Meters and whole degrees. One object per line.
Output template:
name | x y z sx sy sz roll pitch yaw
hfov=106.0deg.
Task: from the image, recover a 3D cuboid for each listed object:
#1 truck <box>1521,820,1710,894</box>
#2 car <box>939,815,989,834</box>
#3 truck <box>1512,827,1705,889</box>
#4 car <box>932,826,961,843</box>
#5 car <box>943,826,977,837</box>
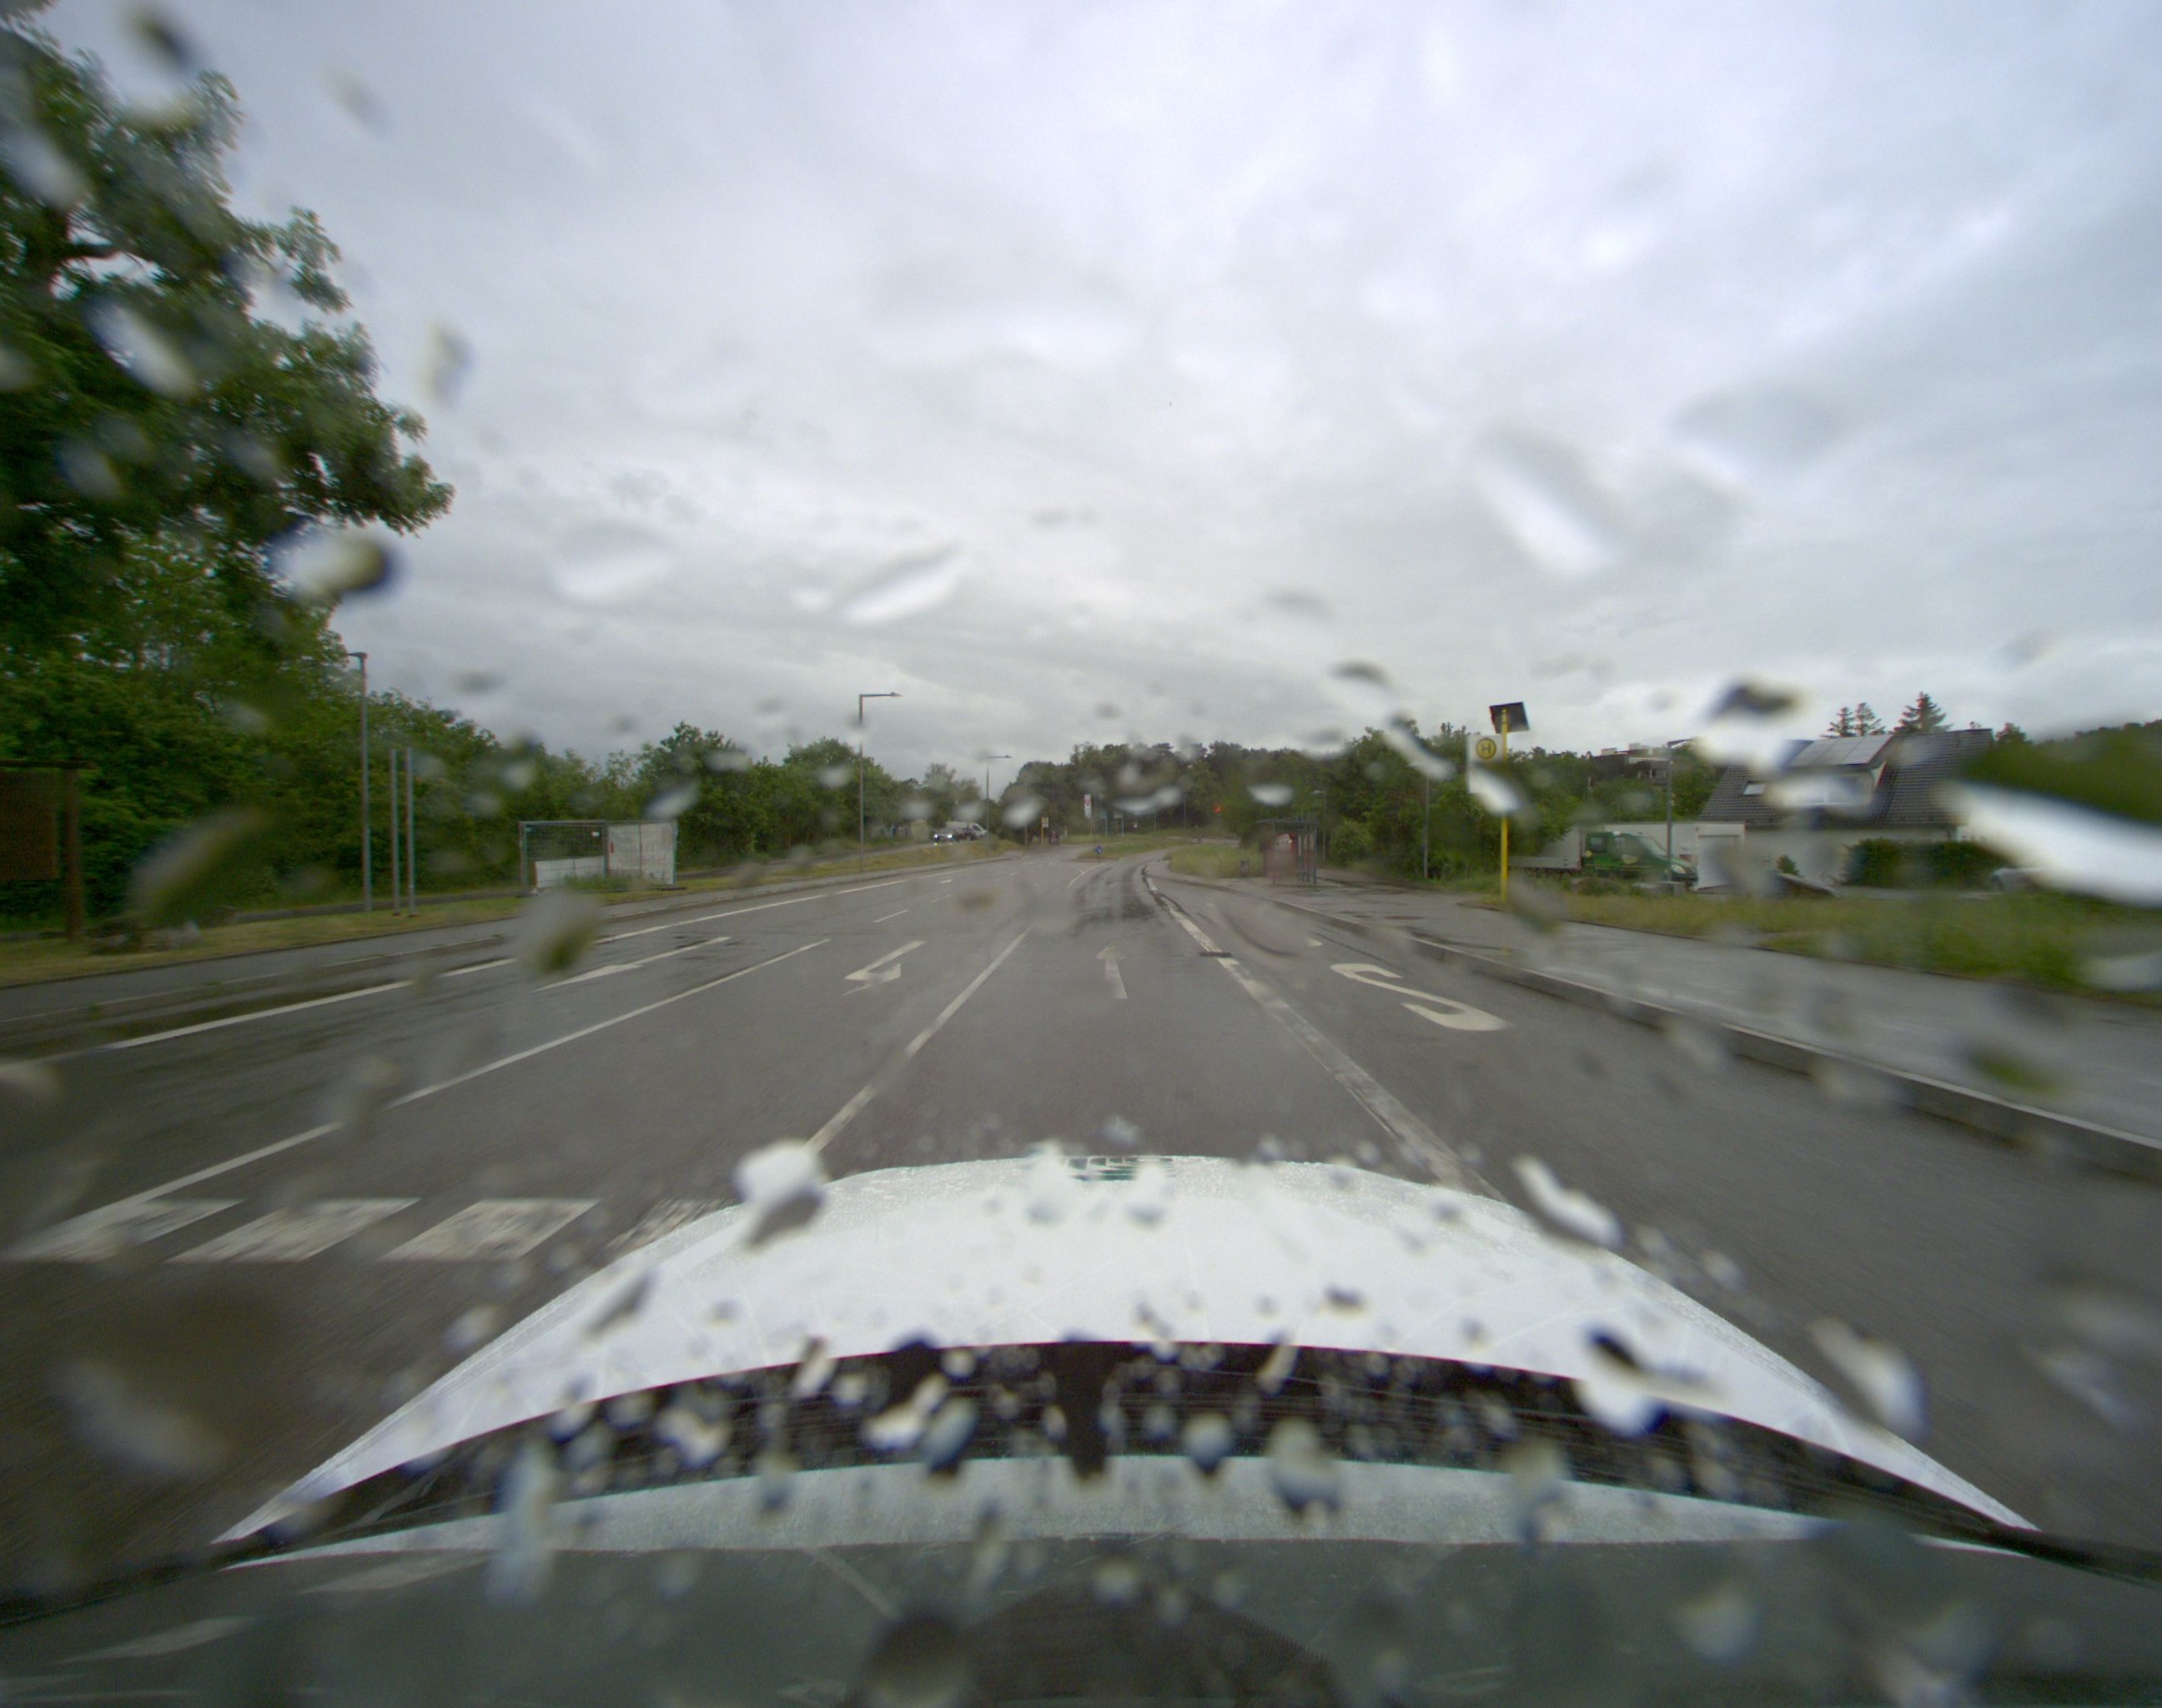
truck | 19.894 0.158 30.584 2.009 2.526 5.573 0 -1 -37
car | -16.280 -4.085 113.758 6.528 2.397 2.141 1 0 3
truck | 19.714 0.112 30.751 2.009 2.109 5.785 0 0 -36
car | -13.488 -2.006 81.939 1.683 1.567 4.551 3 3 6
car | -15.734 -2.928 106.074 3.964 1.364 1.853 0 2 8
